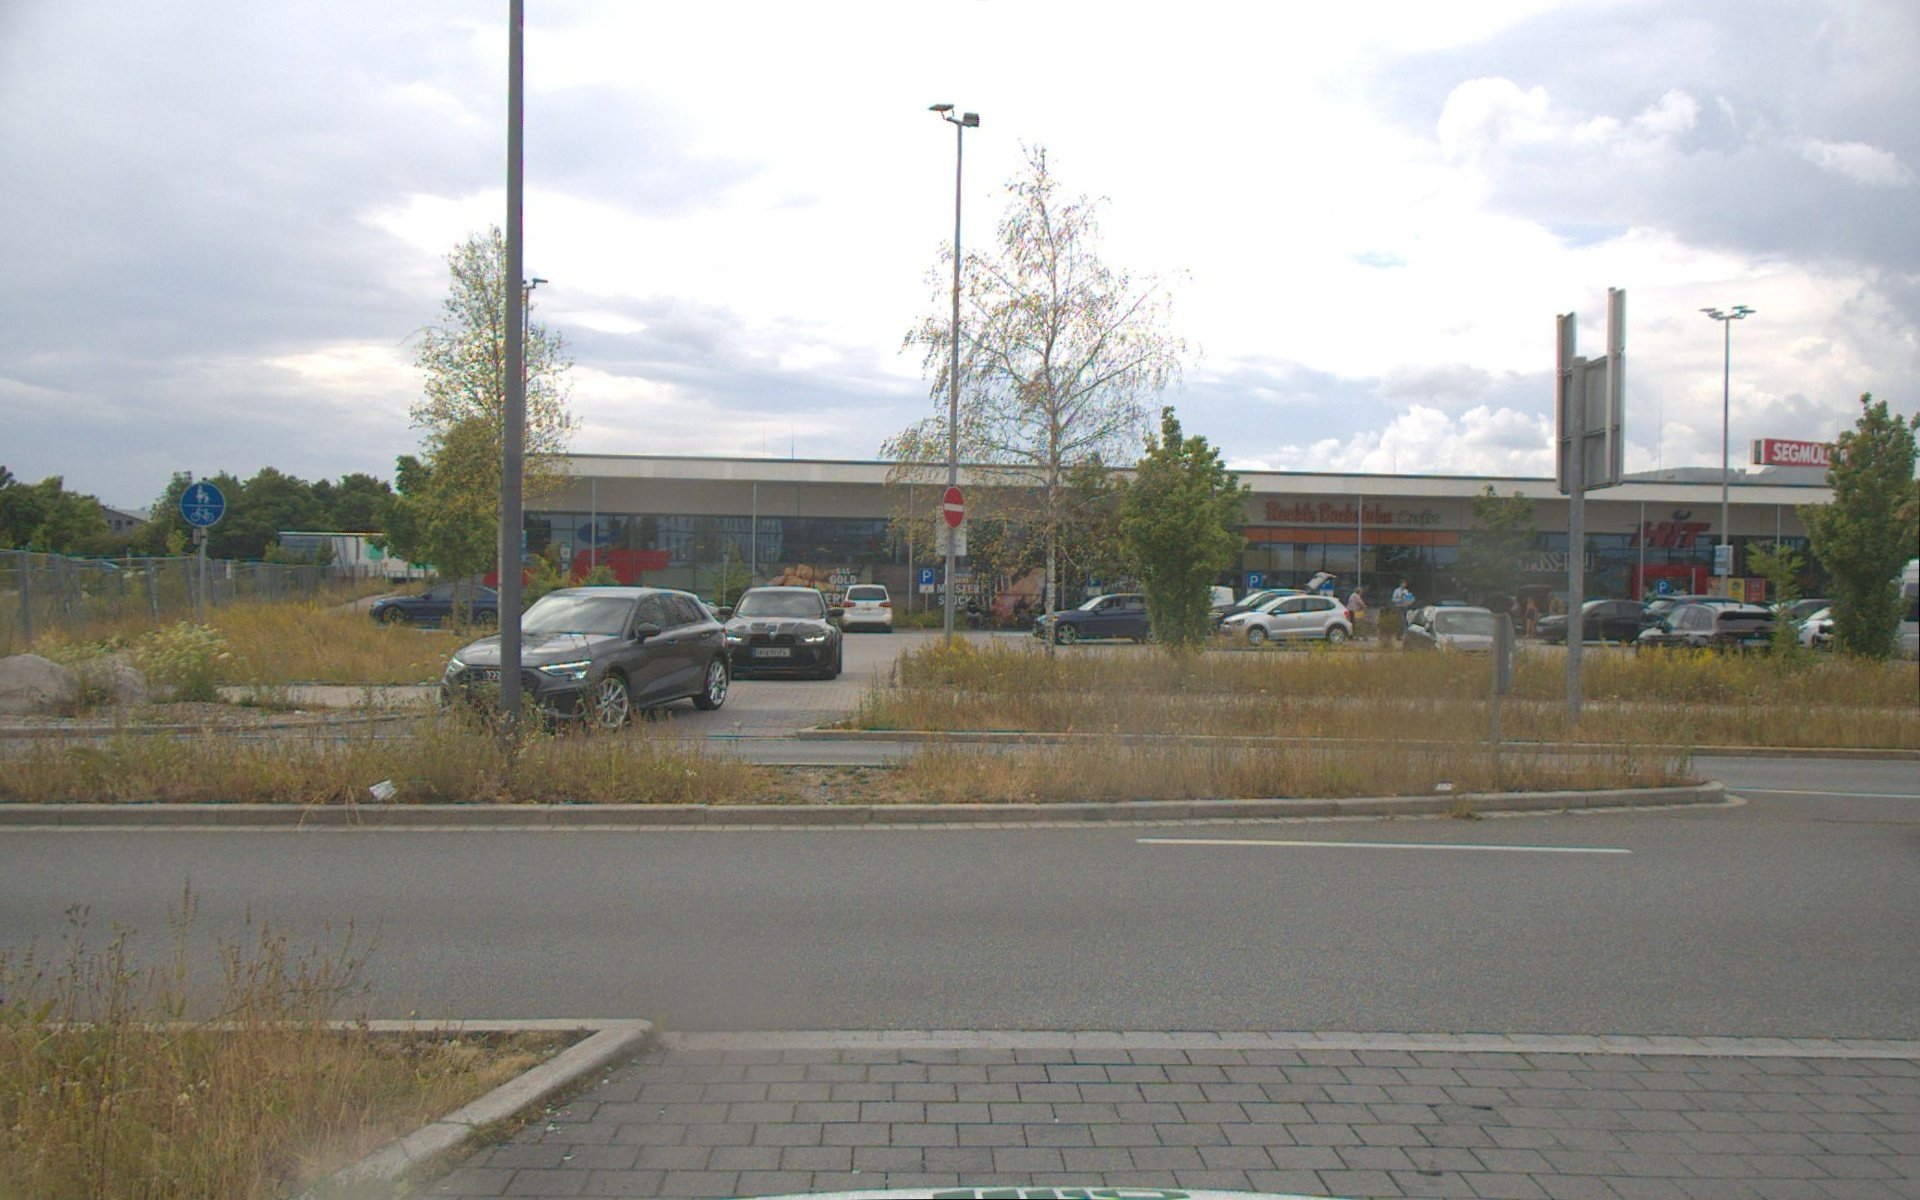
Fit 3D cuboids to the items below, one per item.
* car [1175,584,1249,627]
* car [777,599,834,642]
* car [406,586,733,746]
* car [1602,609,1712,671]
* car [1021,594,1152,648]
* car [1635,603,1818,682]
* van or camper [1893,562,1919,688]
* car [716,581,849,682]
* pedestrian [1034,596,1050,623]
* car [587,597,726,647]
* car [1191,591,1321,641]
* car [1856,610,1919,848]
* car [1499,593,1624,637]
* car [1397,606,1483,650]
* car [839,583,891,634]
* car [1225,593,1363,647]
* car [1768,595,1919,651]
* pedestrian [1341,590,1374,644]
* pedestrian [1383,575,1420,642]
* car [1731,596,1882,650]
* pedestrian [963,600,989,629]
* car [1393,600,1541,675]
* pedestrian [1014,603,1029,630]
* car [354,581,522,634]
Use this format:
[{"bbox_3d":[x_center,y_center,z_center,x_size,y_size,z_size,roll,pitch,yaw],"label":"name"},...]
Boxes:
[{"bbox_3d":[9.428,0.166,62.179,1.954,1.534,3.998,1,1,-3],"label":"car"},{"bbox_3d":[-5.622,0.715,60.551,1.868,1.469,3.998,1,0,-3],"label":"car"},{"bbox_3d":[-4.085,0.609,18.111,1.753,1.492,4.324,1,1,13],"label":"car"},{"bbox_3d":[20.685,1.158,49.273,1.776,1.682,4.002,1,0,3],"label":"car"},{"bbox_3d":[3.653,0.587,48.059,3.537,1.479,1.666,1,0,-6],"label":"car"},{"bbox_3d":[15.524,0.818,33.739,1.947,1.476,4.151,1,0,3],"label":"car"},{"bbox_3d":[20.317,0.522,32.392,2.234,2.536,4.003,1,0,8],"label":"van or camper"},{"bbox_3d":[-2.787,0.473,26.810,1.744,1.471,4.608,1,0,-1],"label":"car"},{"bbox_3d":[3.428,0.392,69.322,0.565,1.143,0.561,1,0,-9],"label":"pedestrian"},{"bbox_3d":[-8.967,0.654,49.180,3.912,1.375,1.997,1,0,-8],"label":"car"},{"bbox_3d":[9.254,0.503,51.850,3.674,1.479,1.666,1,0,-5],"label":"car"},{"bbox_3d":[7.918,0.834,10.408,3.736,1.486,1.796,1,0,-11],"label":"car"},{"bbox_3d":[22.304,0.557,61.428,3.908,1.534,1.999,1,1,-4],"label":"car"},{"bbox_3d":[18.278,1.030,63.127,1.954,1.534,3.998,1,1,-3],"label":"car"},{"bbox_3d":[-3.455,0.271,60.718,1.787,1.729,4.232,1,1,-2],"label":"car"},{"bbox_3d":[9.848,0.579,48.897,3.674,1.479,1.666,1,0,-5],"label":"car"},{"bbox_3d":[27.457,0.701,51.224,3.903,1.646,2.001,1,0,3],"label":"car"},{"bbox_3d":[12.445,0.525,51.809,0.805,1.660,0.899,1,0,0],"label":"pedestrian"},{"bbox_3d":[13.916,0.260,52.144,0.847,2.049,1.003,1,0,0],"label":"pedestrian"},{"bbox_3d":[27.508,0.738,53.861,3.903,1.646,2.001,1,0,3],"label":"car"},{"bbox_3d":[0.685,0.611,70.400,0.952,1.174,1.131,1,0,-7],"label":"pedestrian"},{"bbox_3d":[10.410,0.737,34.258,1.947,1.408,4.151,1,0,3],"label":"car"},{"bbox_3d":[2.606,0.713,70.206,0.565,1.143,0.561,1,0,-9],"label":"pedestrian"},{"bbox_3d":[-16.965,0.252,53.963,4.916,1.585,1.996,1,0,-10],"label":"car"}]
